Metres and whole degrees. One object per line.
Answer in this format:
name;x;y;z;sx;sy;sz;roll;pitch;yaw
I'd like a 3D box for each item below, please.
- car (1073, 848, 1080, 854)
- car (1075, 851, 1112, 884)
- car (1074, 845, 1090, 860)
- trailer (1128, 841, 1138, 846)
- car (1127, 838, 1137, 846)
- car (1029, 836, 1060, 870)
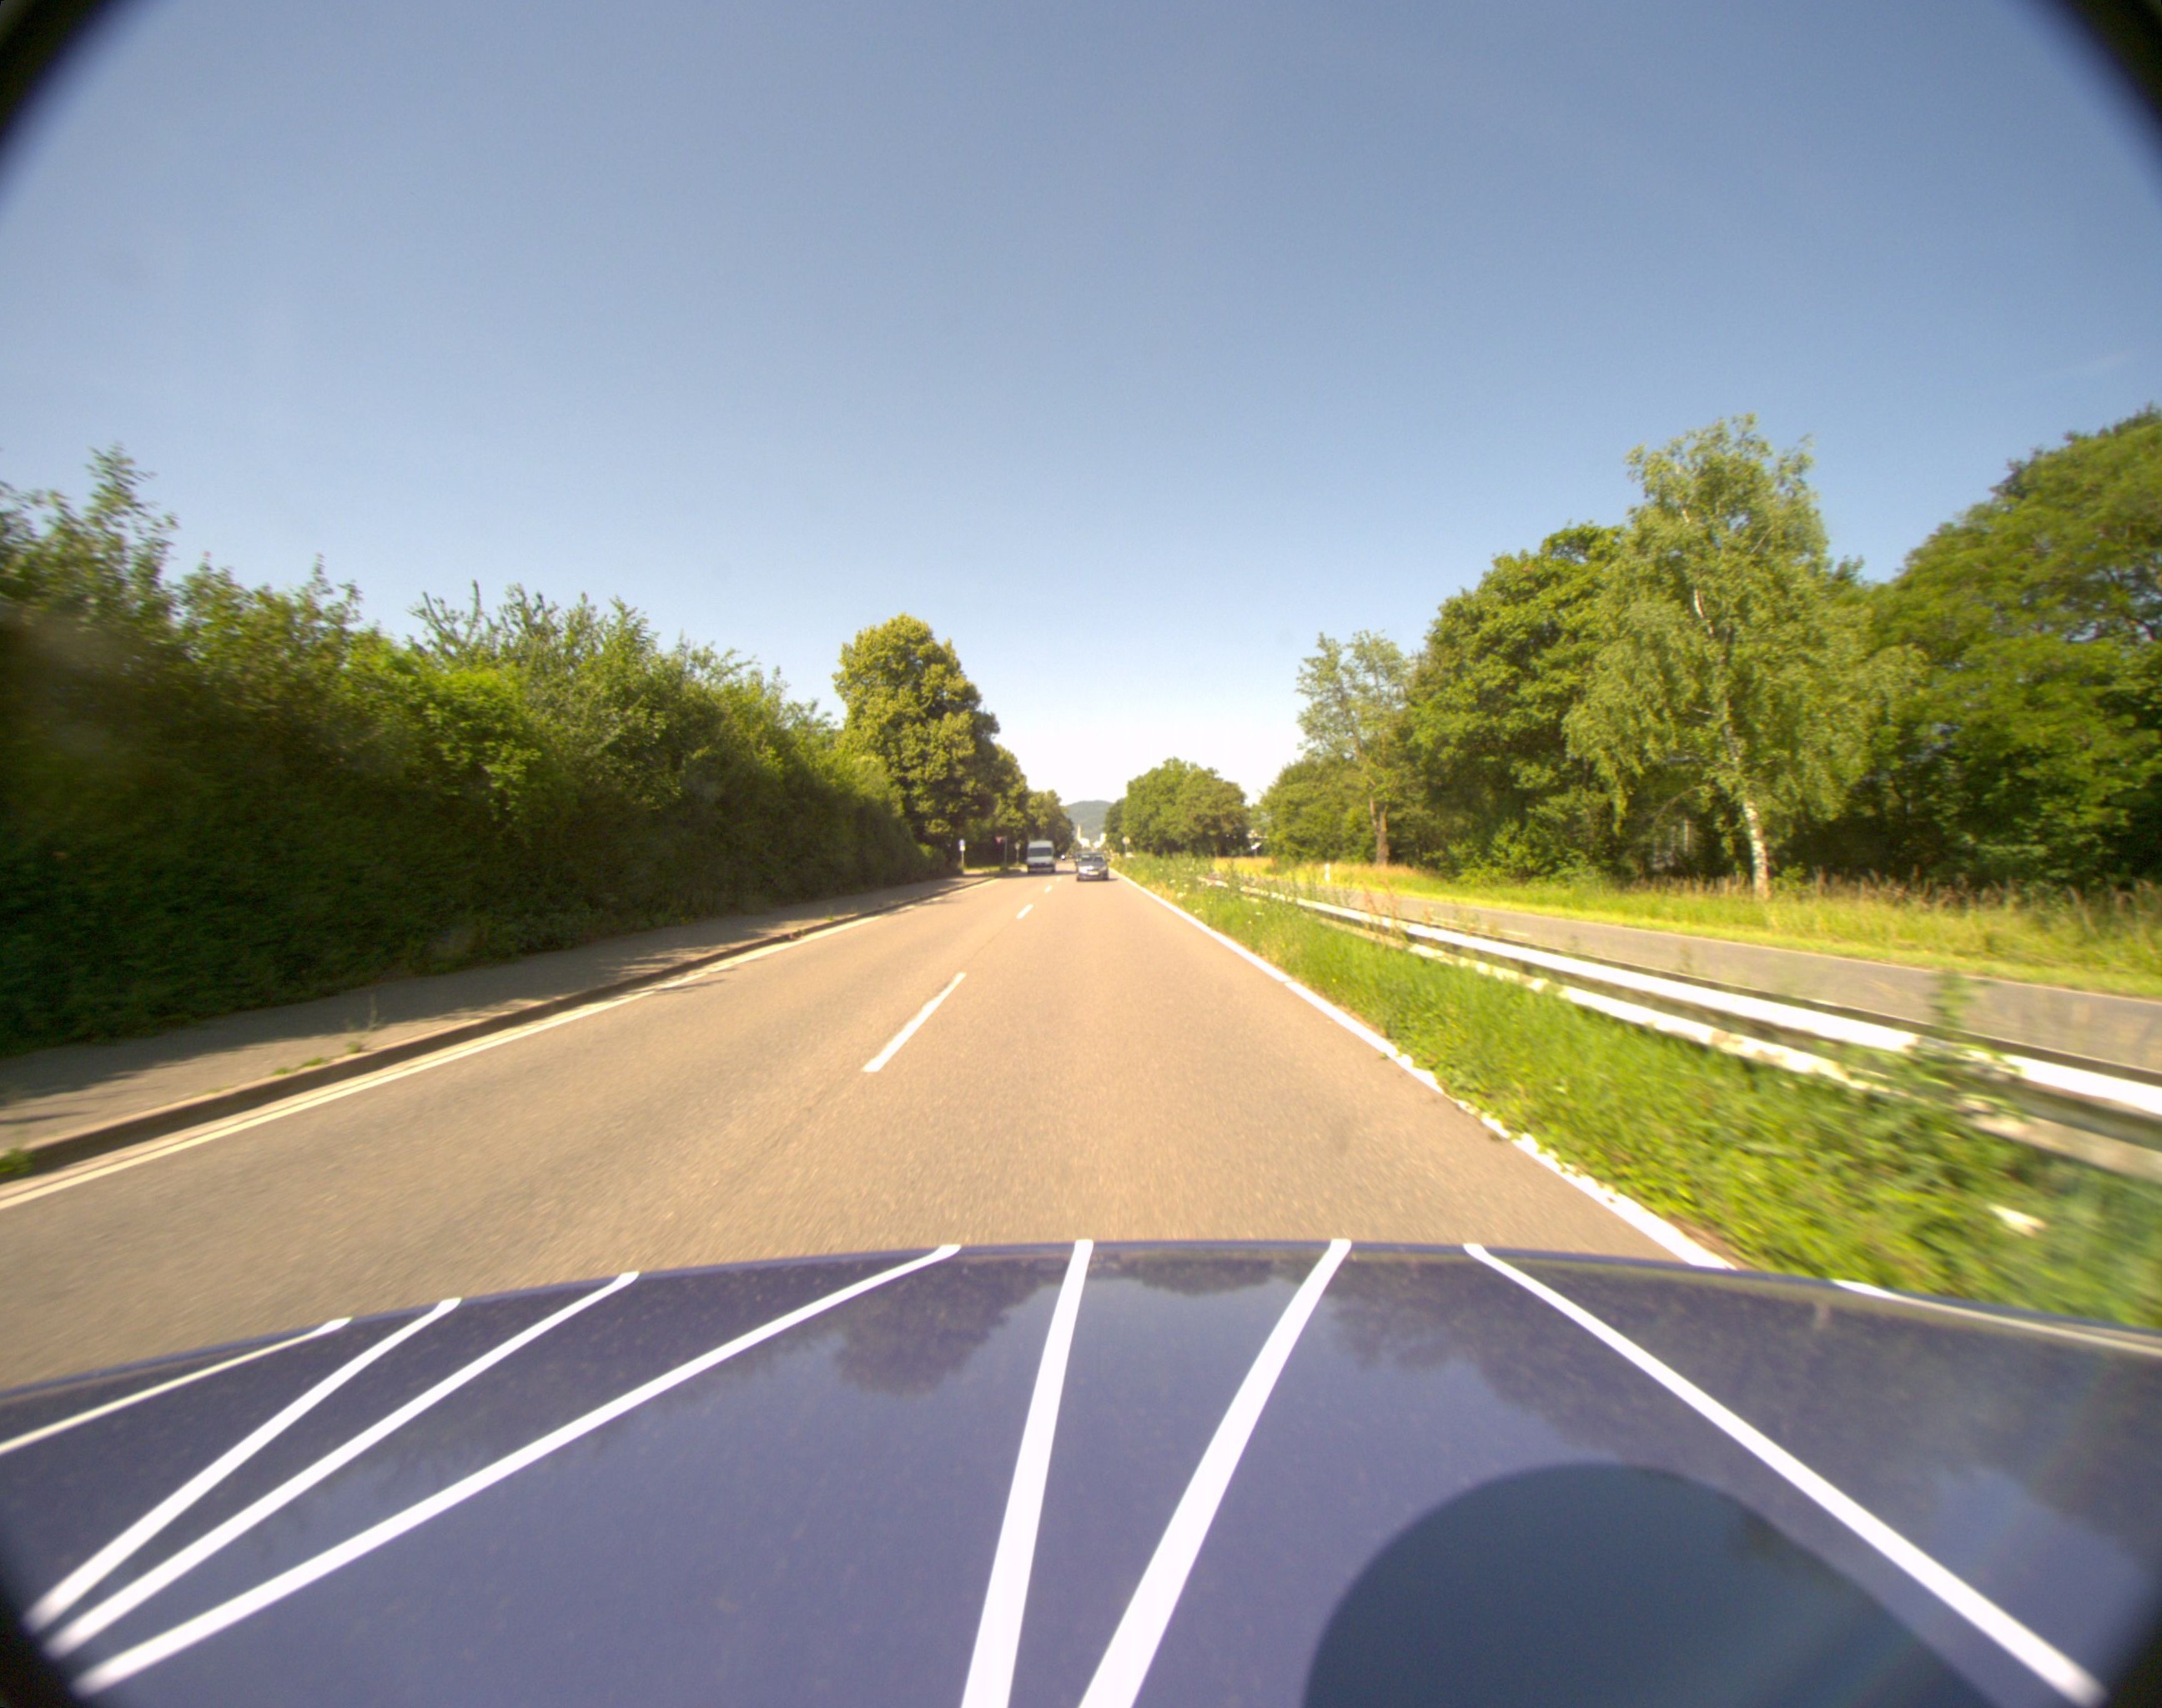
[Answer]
car;-1.274;-0.911;209.677;1.825;1.591;3.999;-1;1;1
car;0.613;0.615;37.492;1.678;1.435;4.361;-2;1;1
car;0.153;-0.194;84.096;1.678;1.435;3.621;-2;2;1
trailer;11.771;-2.357;171.014;1.969;0.955;5.597;-1;1;1
car;11.775;-2.810;176.211;1.998;1.691;4.813;-1;1;0
car;-2.752;-0.114;57.751;1.998;2.433;5.087;-2;2;1
